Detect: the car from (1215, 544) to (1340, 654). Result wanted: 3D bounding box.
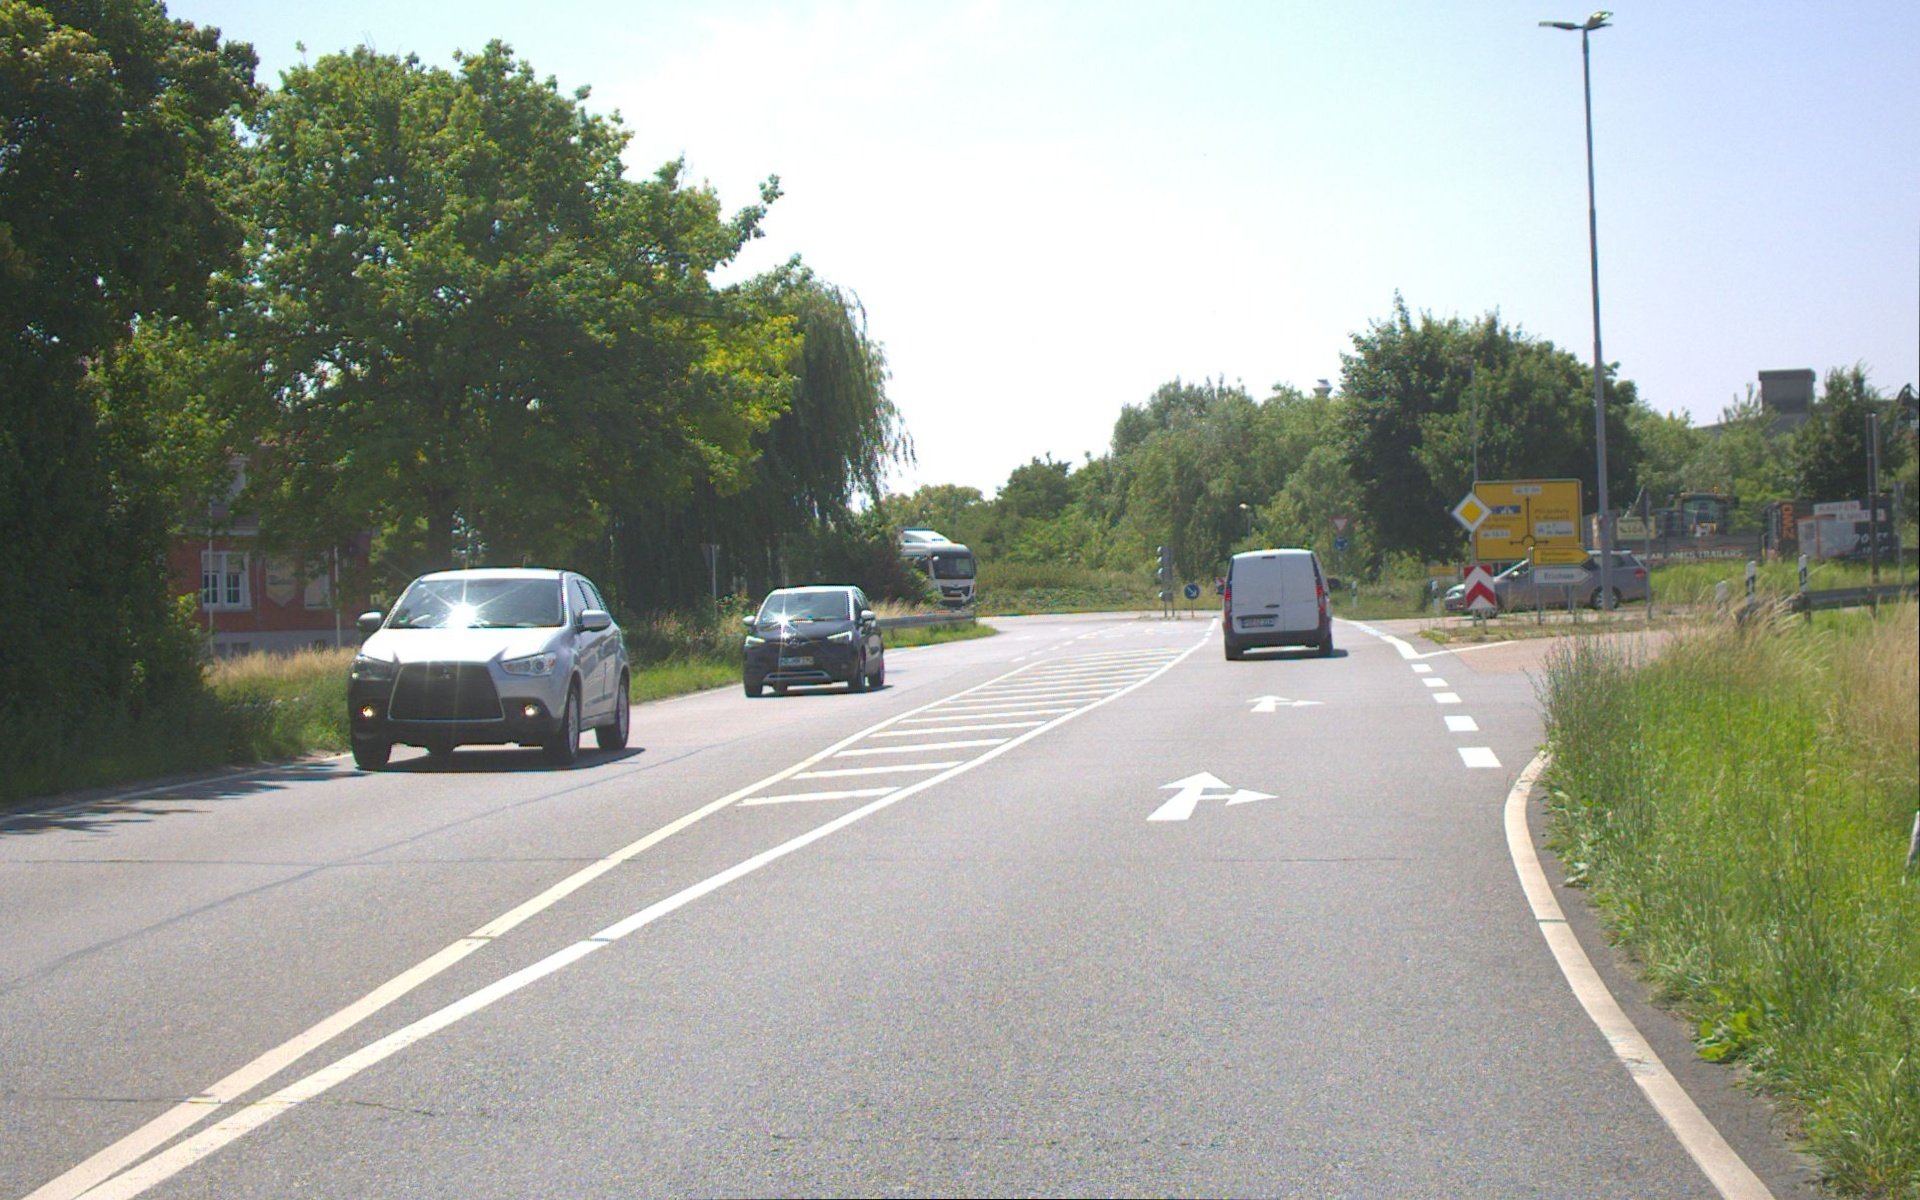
[{"bbox_3d":[5.273,-0.009,57.487,1.904,1.726,3.822,-2,0,4],"label":"car"}]

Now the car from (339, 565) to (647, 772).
[{"bbox_3d":[-3.801,0.509,28.694,1.741,1.584,4.530,0,0,3],"label":"car"}]

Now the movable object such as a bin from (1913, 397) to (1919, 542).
[{"bbox_3d":[31.118,-3.929,102.080,5.086,4.260,2.833,-1,-2,8],"label":"movable object such as a bin"}]

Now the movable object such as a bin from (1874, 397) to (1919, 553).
[{"bbox_3d":[34.965,-4.359,119.643,5.718,5.251,3.220,-1,-2,8],"label":"movable object such as a bin"}]

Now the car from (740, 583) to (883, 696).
[{"bbox_3d":[-2.153,0.546,50.689,1.732,1.585,3.957,-1,0,3],"label":"car"}]

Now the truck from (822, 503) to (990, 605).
[{"bbox_3d":[-2.226,-1.863,139.665,6.748,4.043,2.792,0,1,43],"label":"truck"}]

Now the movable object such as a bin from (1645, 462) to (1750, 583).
[{"bbox_3d":[21.271,-2.188,99.392,2.323,3.239,5.100,0,-1,5],"label":"movable object such as a bin"}]

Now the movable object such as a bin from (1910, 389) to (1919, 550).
[{"bbox_3d":[34.277,-4.267,110.706,6.593,5.130,3.805,-1,-2,8],"label":"movable object such as a bin"}]

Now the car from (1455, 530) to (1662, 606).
[{"bbox_3d":[13.798,-0.745,79.456,4.512,1.503,1.914,-3,0,6],"label":"car"}]
